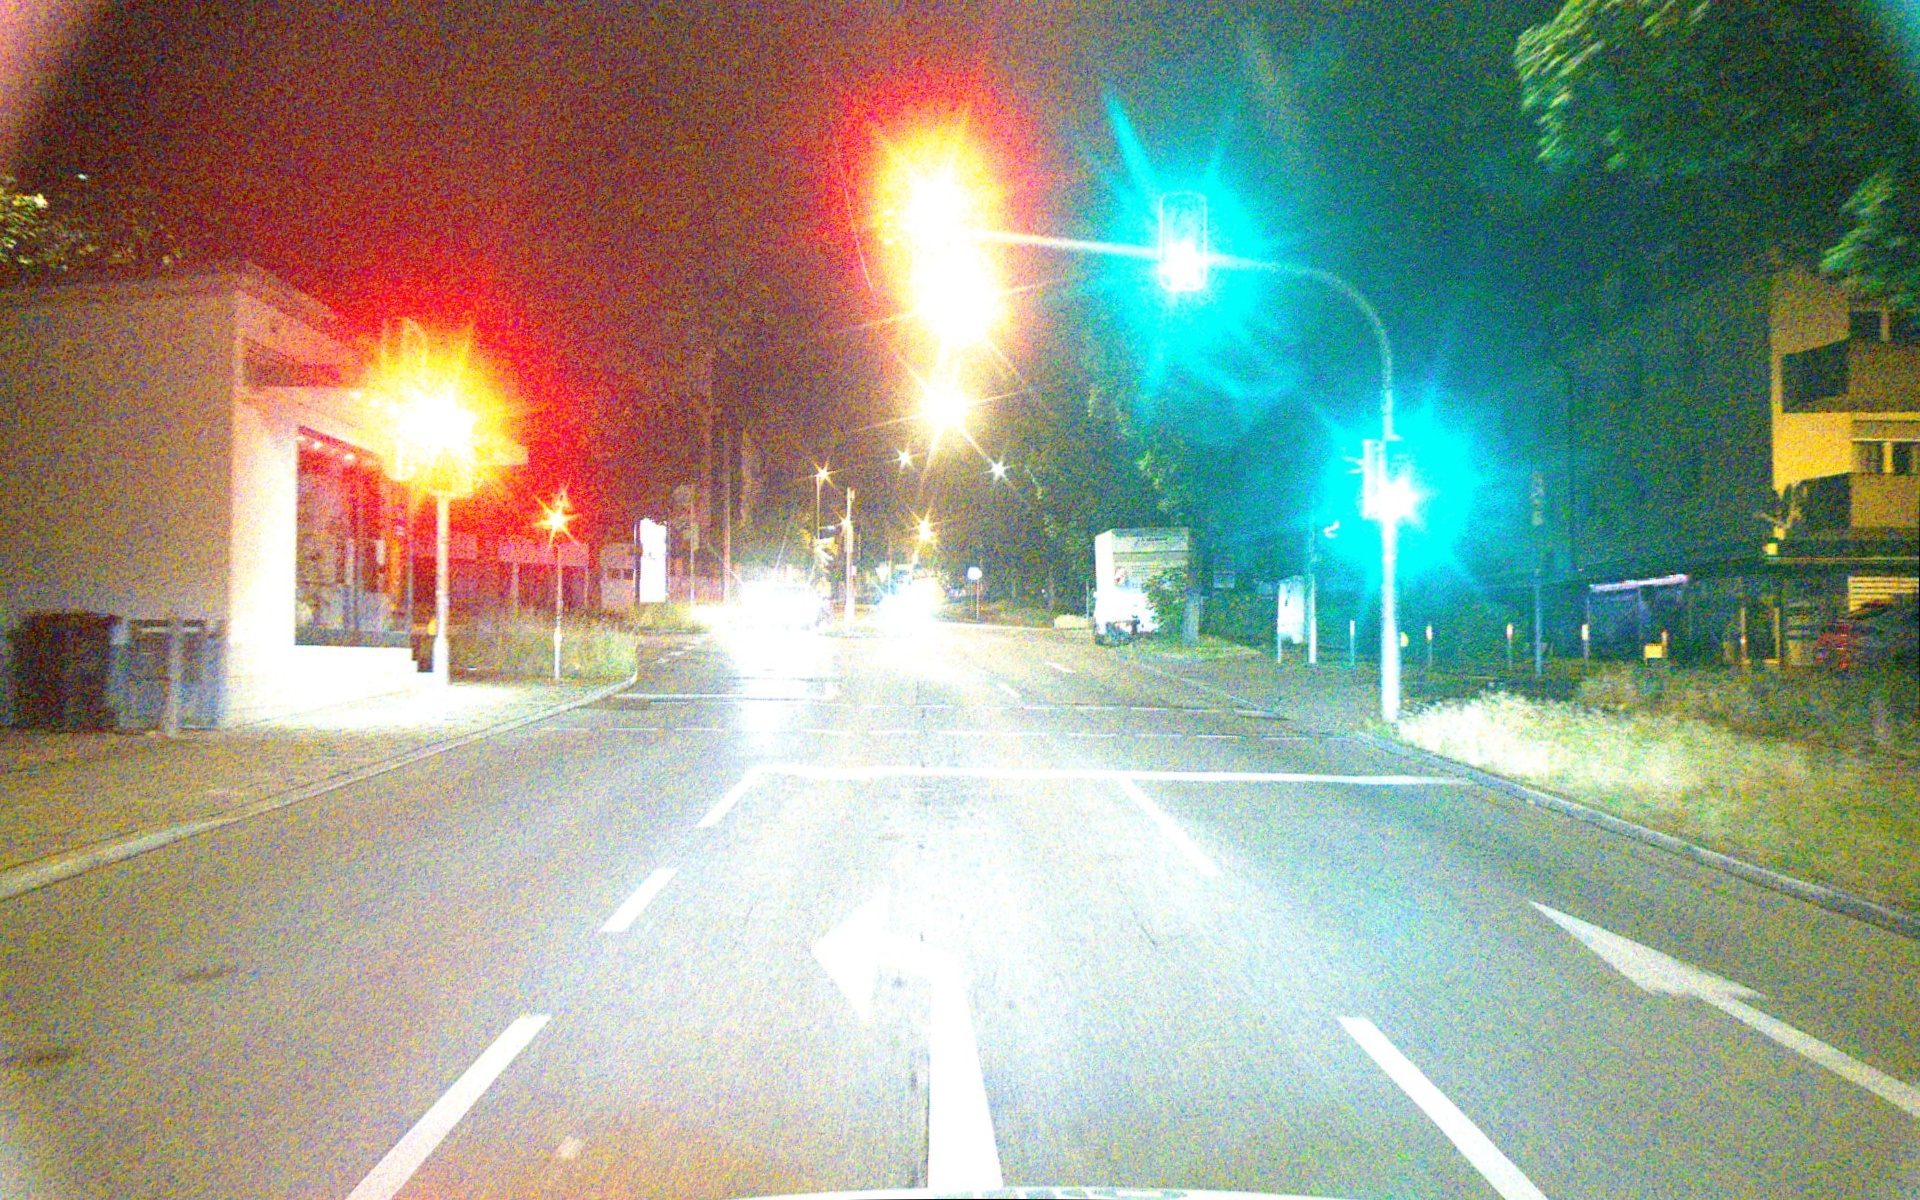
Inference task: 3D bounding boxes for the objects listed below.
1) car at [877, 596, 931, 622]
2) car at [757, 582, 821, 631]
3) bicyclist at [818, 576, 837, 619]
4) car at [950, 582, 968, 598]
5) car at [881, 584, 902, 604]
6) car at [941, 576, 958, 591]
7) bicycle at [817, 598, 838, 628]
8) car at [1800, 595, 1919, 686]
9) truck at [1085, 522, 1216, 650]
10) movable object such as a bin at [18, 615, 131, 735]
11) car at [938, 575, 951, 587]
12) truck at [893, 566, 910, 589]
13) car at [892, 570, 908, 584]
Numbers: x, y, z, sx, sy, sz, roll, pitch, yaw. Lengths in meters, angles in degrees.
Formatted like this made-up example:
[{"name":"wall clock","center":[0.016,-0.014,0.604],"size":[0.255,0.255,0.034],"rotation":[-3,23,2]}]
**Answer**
[{"name":"car","center":[-3.259,0.488,95.518],"size":[1.887,1.413,4.558],"rotation":[1,0,-19]},{"name":"car","center":[-5.793,0.199,56.501],"size":[1.819,1.561,4.027],"rotation":[1,0,-1]},{"name":"bicyclist","center":[-5.269,-0.100,65.857],"size":[0.676,1.666,0.896],"rotation":[1,0,-1]},{"name":"car","center":[-0.102,-0.943,153.289],"size":[1.601,1.477,3.484],"rotation":[1,0,-1]},{"name":"car","center":[-5.995,-0.554,144.827],"size":[1.778,1.713,3.999],"rotation":[0,0,-1]},{"name":"car","center":[-1.075,-1.661,169.243],"size":[1.601,1.477,3.484],"rotation":[1,0,-1]},{"name":"bicycle","center":[-5.279,0.527,65.939],"size":[0.682,1.169,1.950],"rotation":[1,0,-1]},{"name":"car","center":[16.134,0.553,26.819],"size":[4.044,1.302,1.767],"rotation":[-5,-1,6]},{"name":"truck","center":[5.012,-0.382,44.632],"size":[2.693,3.165,6.257],"rotation":[1,0,-1]},{"name":"movable object such as a bin","center":[-8.135,0.674,15.204],"size":[0.625,1.067,0.655],"rotation":[1,0,16]},{"name":"car","center":[-1.902,-2.332,201.441],"size":[1.601,1.477,3.484],"rotation":[1,0,-1]},{"name":"truck","center":[-7.795,-2.956,219.428],"size":[2.045,2.897,5.828],"rotation":[1,0,-3]},{"name":"car","center":[-7.126,-2.730,196.972],"size":[1.779,1.517,3.998],"rotation":[1,0,-3]}]
